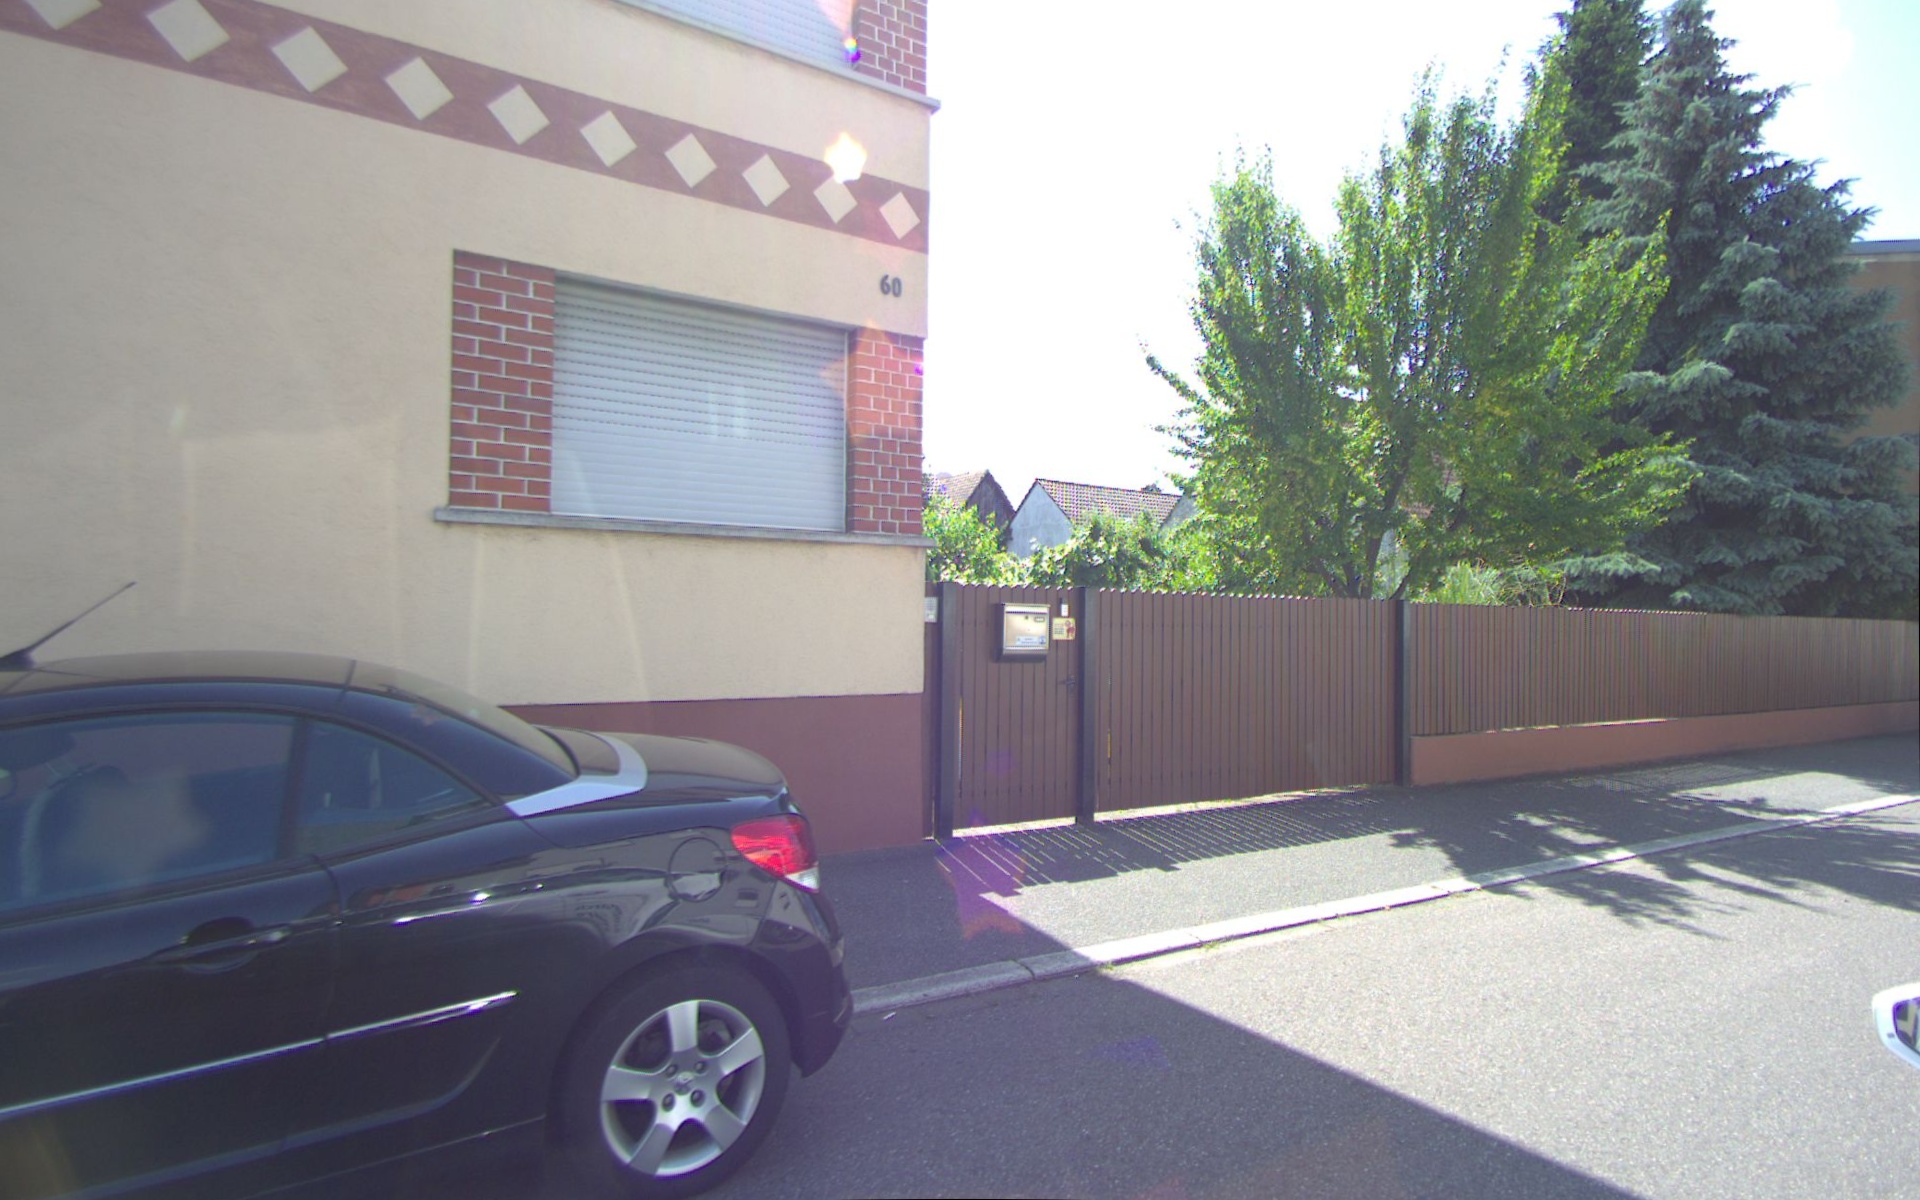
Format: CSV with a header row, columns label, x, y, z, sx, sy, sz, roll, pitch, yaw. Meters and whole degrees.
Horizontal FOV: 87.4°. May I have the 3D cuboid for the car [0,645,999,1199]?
label,x,y,z,sx,sy,sz,roll,pitch,yaw
car,-2.054,0.854,2.710,4.019,1.392,1.753,1,0,-31
